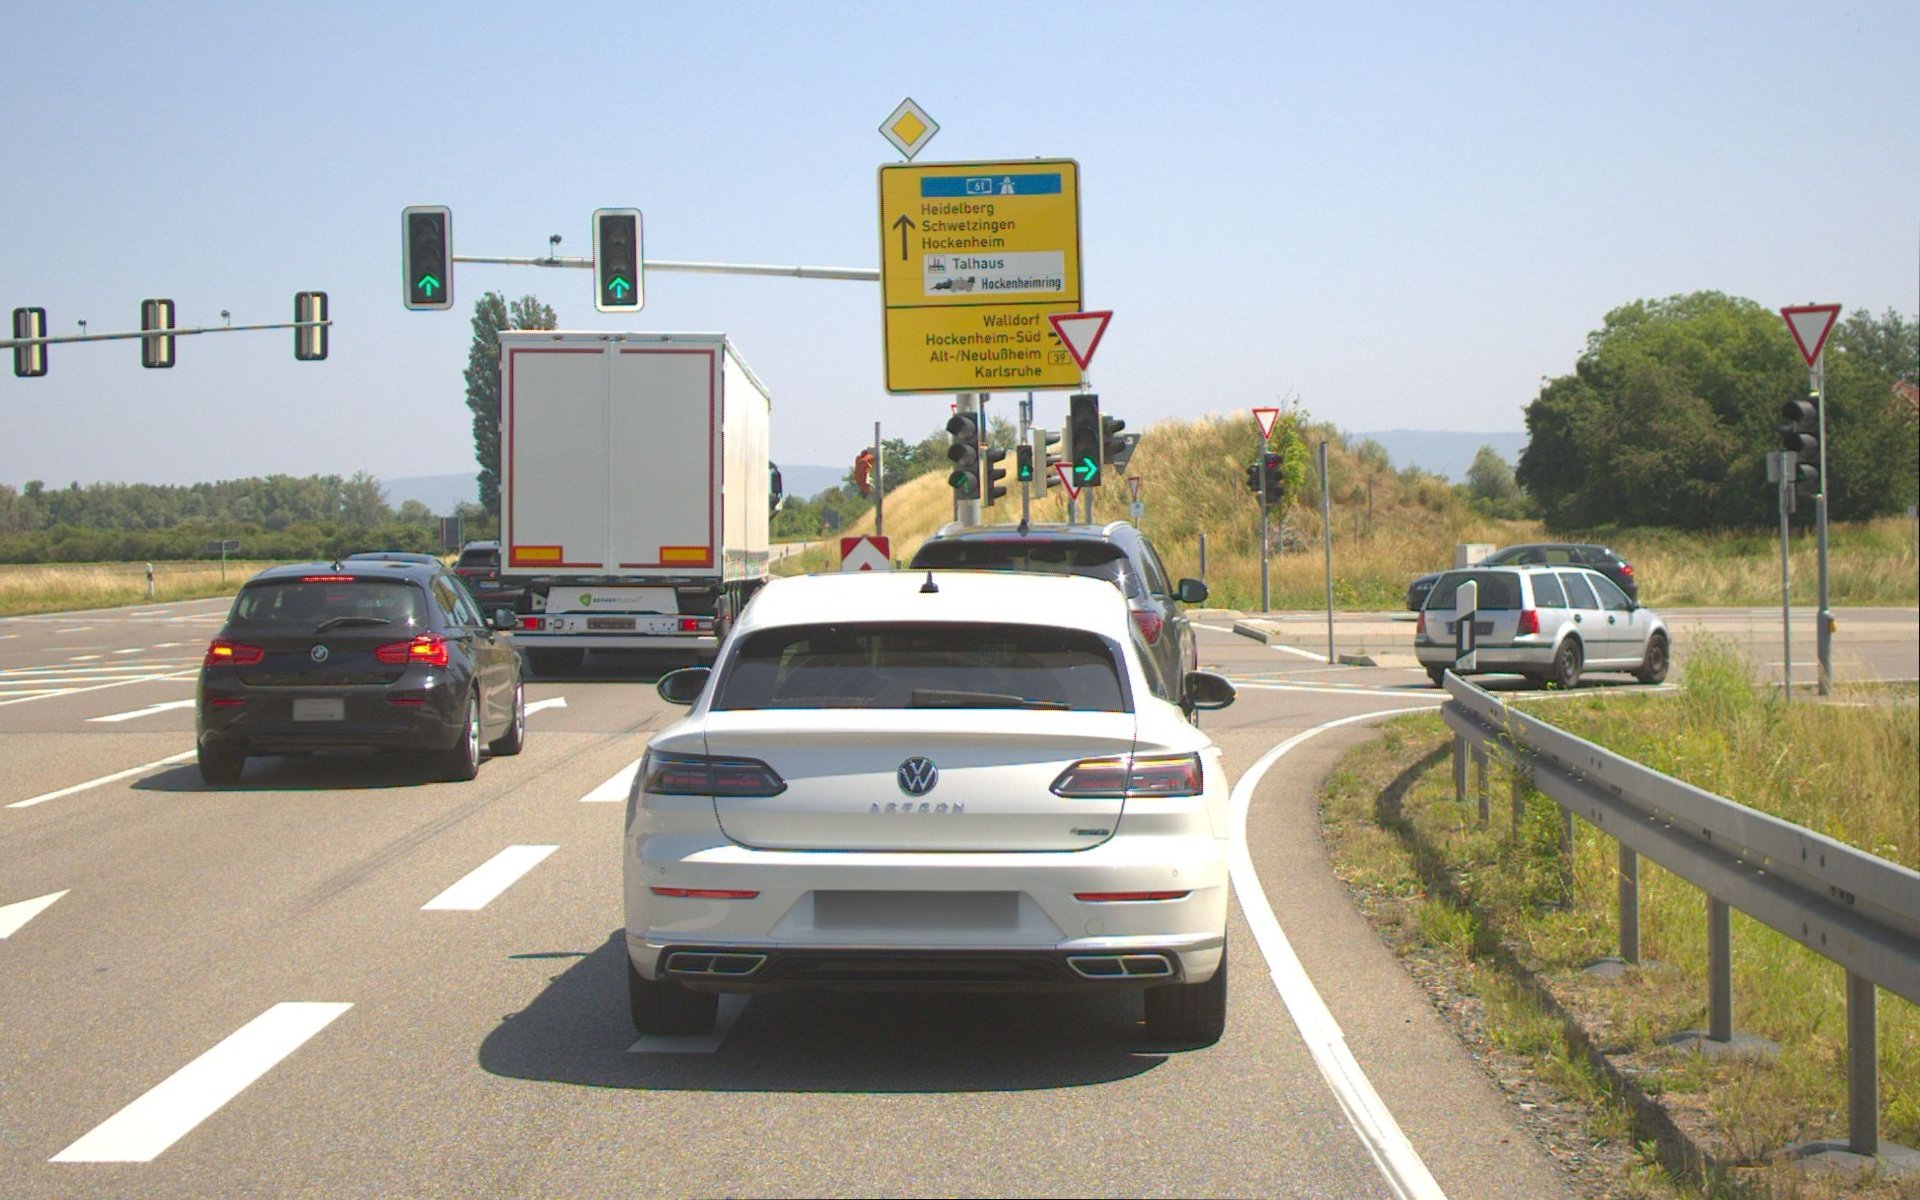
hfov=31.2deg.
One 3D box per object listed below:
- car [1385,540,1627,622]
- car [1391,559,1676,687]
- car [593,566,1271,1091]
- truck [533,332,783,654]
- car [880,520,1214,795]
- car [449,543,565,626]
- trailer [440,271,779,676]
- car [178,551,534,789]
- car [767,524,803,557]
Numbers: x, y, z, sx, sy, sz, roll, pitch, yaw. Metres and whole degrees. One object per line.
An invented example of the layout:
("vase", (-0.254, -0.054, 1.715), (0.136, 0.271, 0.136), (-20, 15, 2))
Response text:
("car", (10.172, -0.363, 64.228), (4.260, 1.364, 1.776), (-1, 2, 3))
("car", (6.820, 0.236, 40.588), (1.803, 1.424, 4.085), (0, 1, 34))
("car", (-0.097, 0.603, 11.688), (1.848, 1.428, 4.608), (0, 1, -1))
("truck", (-4.449, -1.562, 51.970), (3.381, 4.527, 6.373), (0, 1, -2))
("car", (0.669, 0.315, 22.370), (1.935, 1.611, 4.377), (0, 1, 5))
("car", (-8.455, -0.300, 64.426), (1.809, 1.488, 4.022), (0, 1, -2))
("trailer", (-4.276, -1.513, 45.085), (3.381, 4.527, 12.873), (0, 1, -1))
("car", (-4.011, 0.402, 23.493), (1.784, 1.426, 4.381), (1, 1, -2))
("car", (-10.083, -3.402, 198.227), (1.980, 1.862, 4.468), (0, 0, -4))
